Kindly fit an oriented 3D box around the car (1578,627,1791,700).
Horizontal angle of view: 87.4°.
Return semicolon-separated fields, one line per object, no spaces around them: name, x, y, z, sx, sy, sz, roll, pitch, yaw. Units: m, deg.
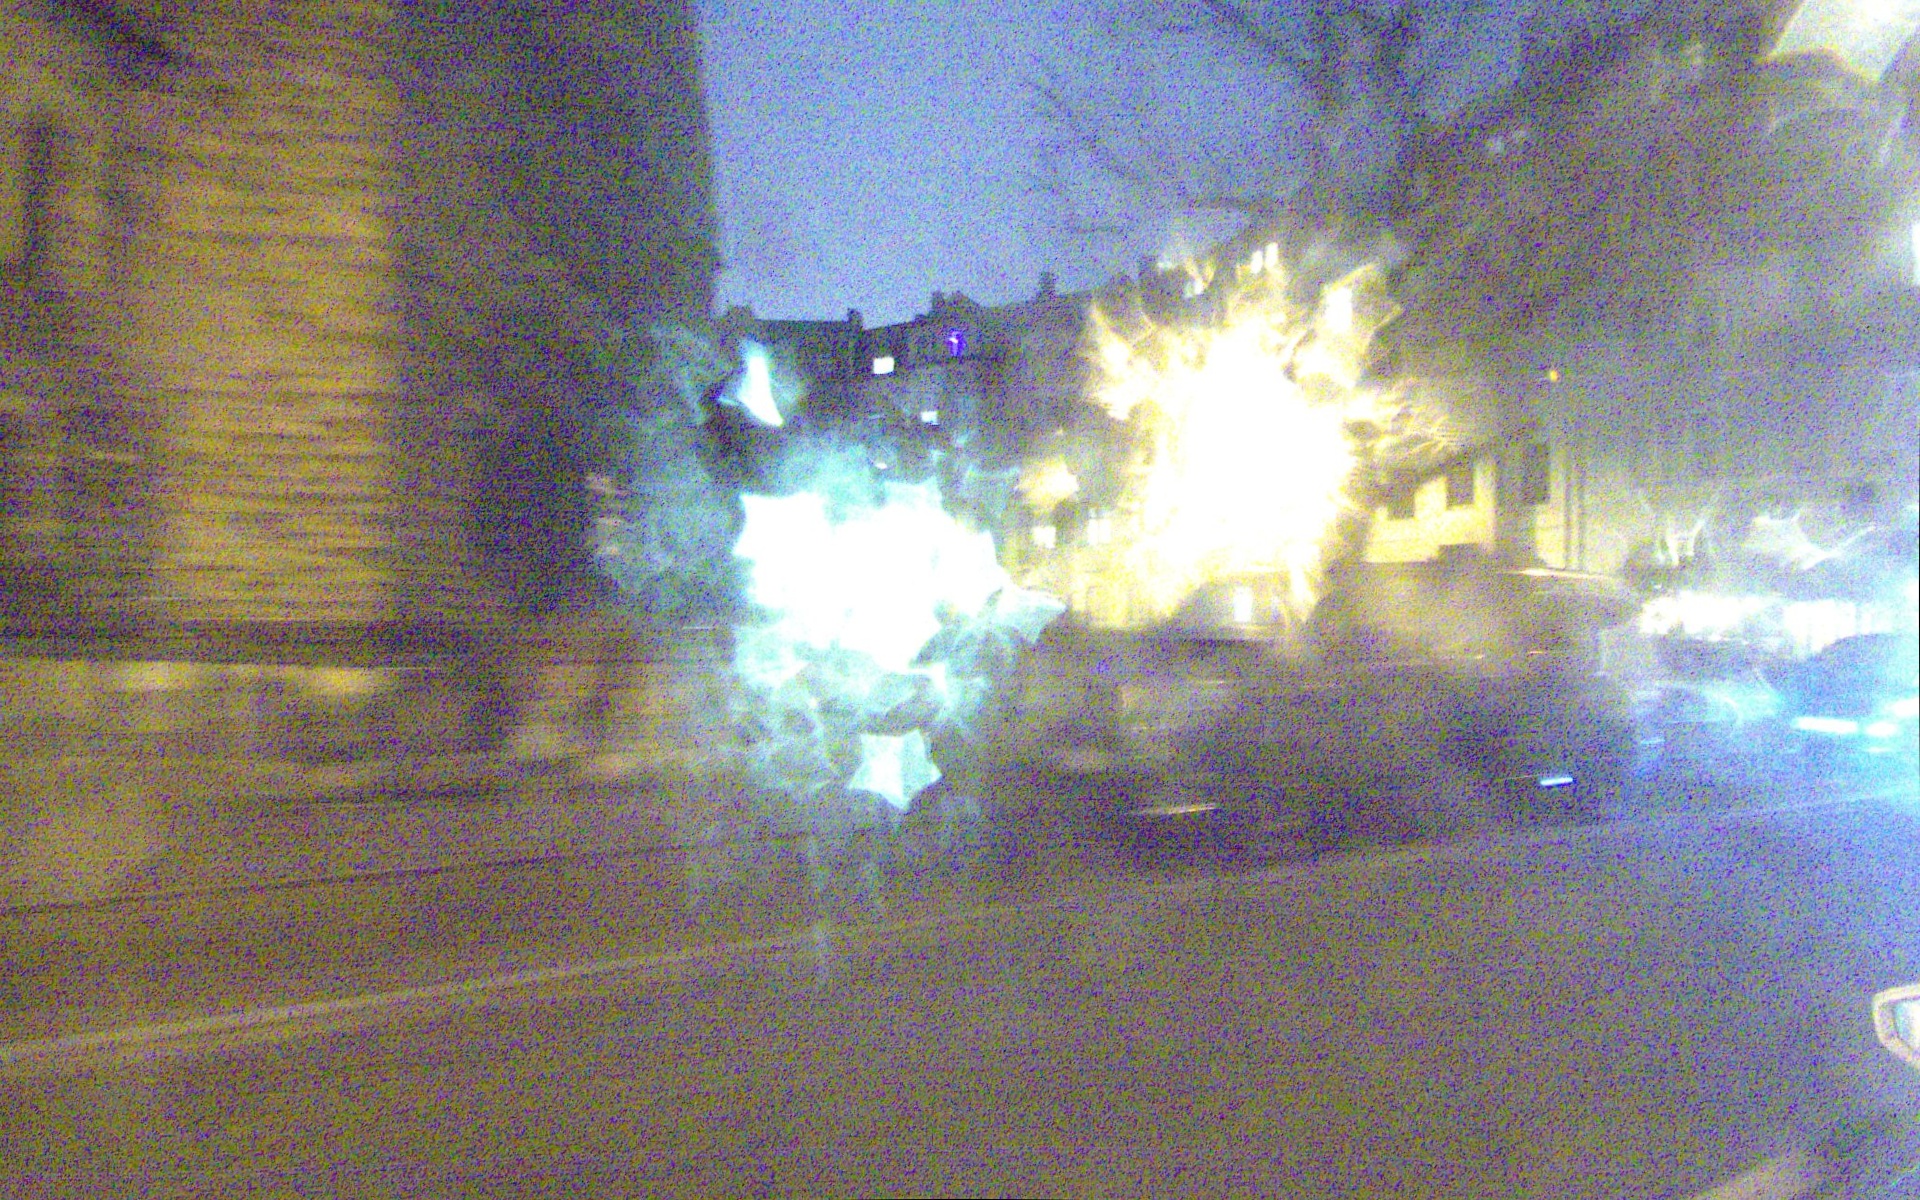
car;17.950;1.520;25.089;1.768;1.559;3.973;1;-1;-26

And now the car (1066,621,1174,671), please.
car;5.790;1.647;36.754;1.833;1.629;3.968;1;0;-30

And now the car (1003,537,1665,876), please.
car;2.850;0.662;7.453;4.763;1.870;1.860;1;-2;-26

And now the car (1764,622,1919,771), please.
car;10.756;1.029;11.777;3.537;1.462;1.532;1;1;-43
